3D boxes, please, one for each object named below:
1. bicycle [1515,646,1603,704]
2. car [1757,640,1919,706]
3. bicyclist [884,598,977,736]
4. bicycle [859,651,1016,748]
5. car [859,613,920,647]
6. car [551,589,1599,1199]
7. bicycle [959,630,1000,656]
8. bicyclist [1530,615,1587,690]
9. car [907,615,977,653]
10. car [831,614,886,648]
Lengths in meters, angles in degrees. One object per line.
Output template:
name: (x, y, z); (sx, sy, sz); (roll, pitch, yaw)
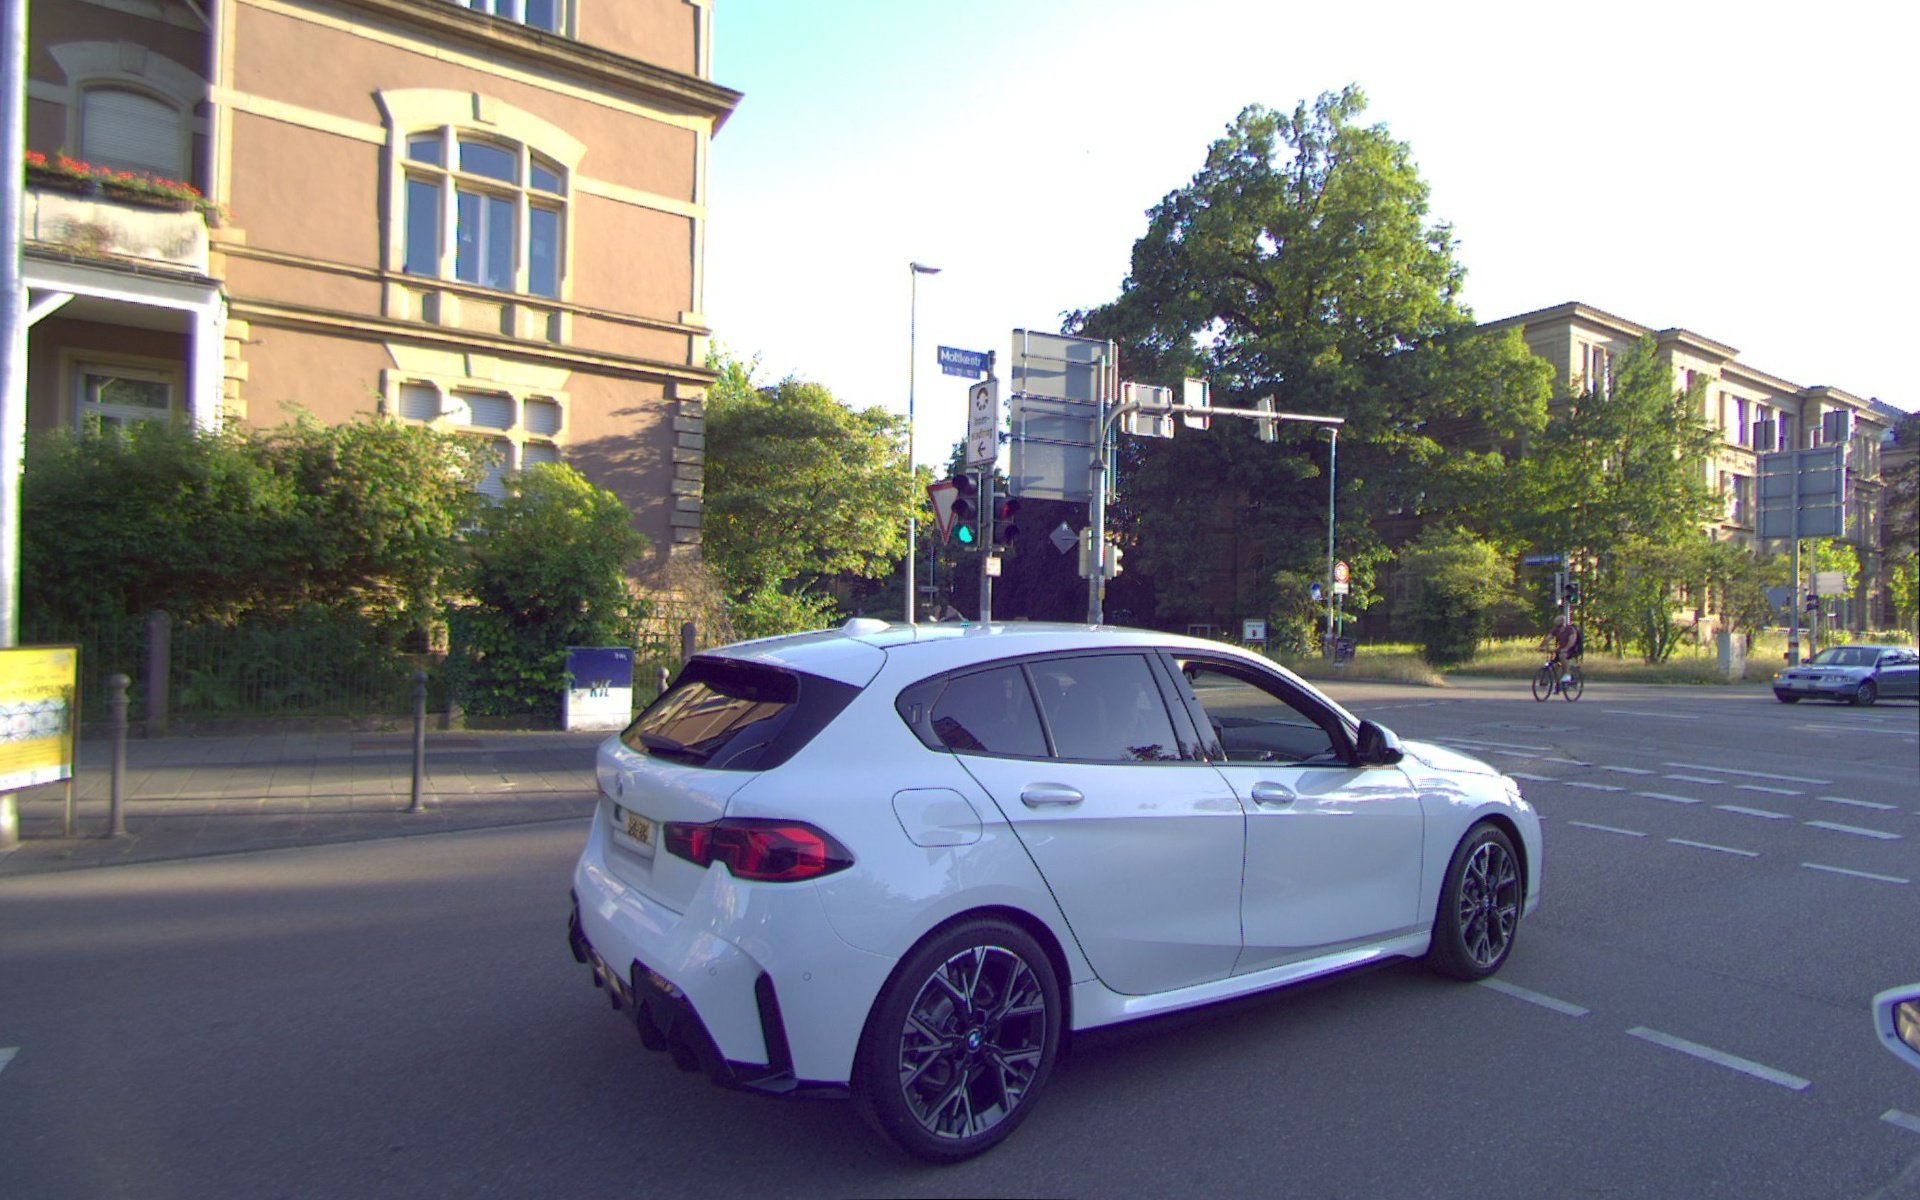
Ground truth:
bicycle: (12.656, 1.565, 21.196); (2.144, 1.138, 0.683); (2, -1, -32)
car: (21.164, 1.704, 23.767); (4.076, 1.427, 1.728); (2, -1, -20)
bicyclist: (-0.371, 0.819, 12.593); (0.904, 1.654, 0.647); (2, 0, -31)
bicycle: (-0.265, 1.226, 12.676); (1.882, 1.104, 0.655); (2, 1, -31)
car: (-4.080, 1.686, 57.728); (1.841, 1.870, 4.153); (2, -1, -30)
car: (0.679, 0.790, 4.153); (4.143, 1.485, 1.742); (2, -2, -33)
bicycle: (0.958, 2.097, 49.174); (1.853, 1.171, 0.748); (2, 0, -27)
bicyclist: (12.621, 1.095, 21.179); (0.945, 1.532, 0.679); (2, -1, -31)
car: (-0.986, 1.755, 52.402); (1.842, 1.870, 4.085); (2, -1, -32)
car: (-6.296, 1.897, 61.810); (1.915, 2.040, 3.969); (2, -2, -29)
